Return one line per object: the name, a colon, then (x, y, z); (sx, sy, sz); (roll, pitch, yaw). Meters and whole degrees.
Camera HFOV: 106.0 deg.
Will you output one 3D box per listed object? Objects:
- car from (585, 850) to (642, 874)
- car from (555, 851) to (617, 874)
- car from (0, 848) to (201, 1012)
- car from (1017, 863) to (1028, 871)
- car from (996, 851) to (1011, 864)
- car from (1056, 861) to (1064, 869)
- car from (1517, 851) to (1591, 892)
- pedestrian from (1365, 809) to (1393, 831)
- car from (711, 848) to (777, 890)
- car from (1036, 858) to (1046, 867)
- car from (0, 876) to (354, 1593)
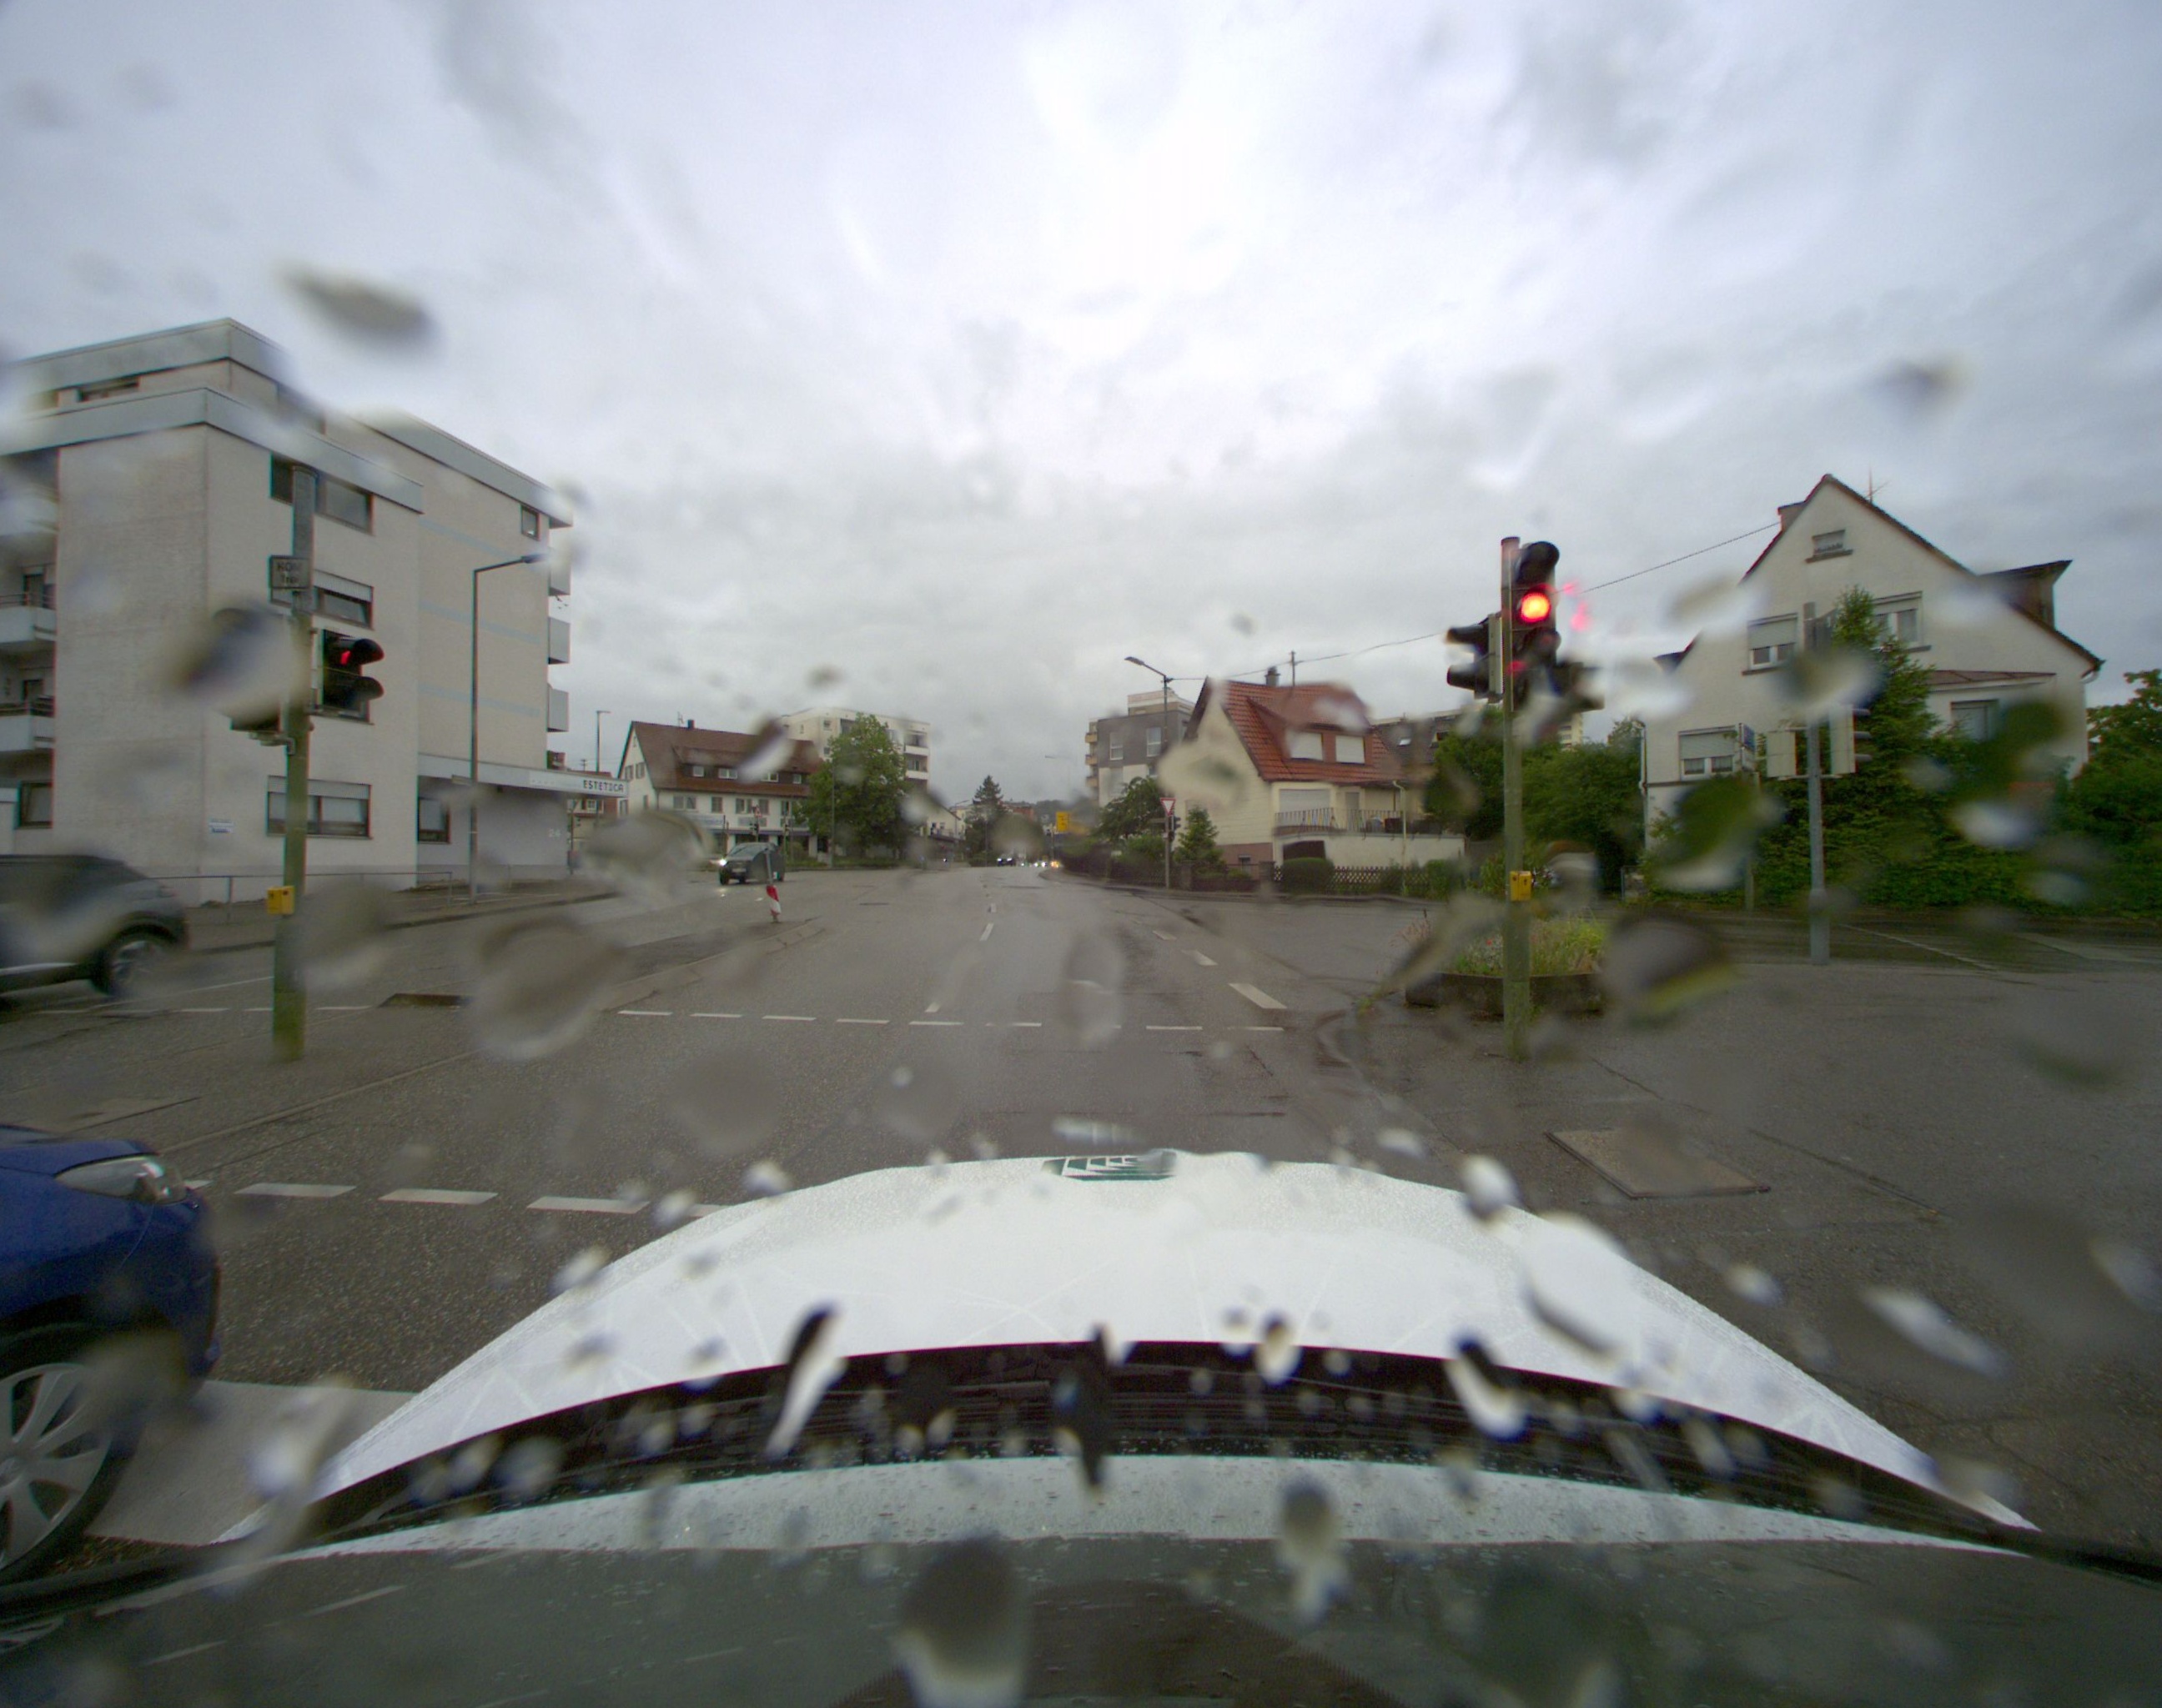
car: (-38.443, 0.624, 66.979); (3.706, 1.920, 1.864); (0, -1, -44)
car: (-41.217, 0.664, 67.802); (4.093, 1.843, 1.864); (0, -1, -44)
car: (-10.916, 0.705, 7.218); (1.962, 1.512, 3.996); (0, 0, -3)
car: (-10.979, 2.378, 152.480); (1.989, 1.463, 3.996); (0, 0, -3)
car: (-10.649, 0.459, 112.677); (1.990, 1.737, 5.173); (0, 0, -4)
car: (-5.159, 2.701, 199.829); (1.989, 1.812, 3.996); (0, -1, -3)
car: (17.113, 0.596, 29.375); (1.794, 1.362, 4.025); (-1, -1, 37)
pedestrian: (12.772, -1.436, 34.860); (0.918, 0.883, 0.632); (0, -3, -18)
car: (-13.668, 0.595, 33.251); (1.881, 1.597, 4.165); (0, -1, -14)
car: (-7.906, 1.656, 160.845); (1.989, 1.679, 3.996); (0, -1, -3)
car: (-2.948, 0.784, 0.728); (1.499, 1.413, 3.365); (0, 0, 2)
